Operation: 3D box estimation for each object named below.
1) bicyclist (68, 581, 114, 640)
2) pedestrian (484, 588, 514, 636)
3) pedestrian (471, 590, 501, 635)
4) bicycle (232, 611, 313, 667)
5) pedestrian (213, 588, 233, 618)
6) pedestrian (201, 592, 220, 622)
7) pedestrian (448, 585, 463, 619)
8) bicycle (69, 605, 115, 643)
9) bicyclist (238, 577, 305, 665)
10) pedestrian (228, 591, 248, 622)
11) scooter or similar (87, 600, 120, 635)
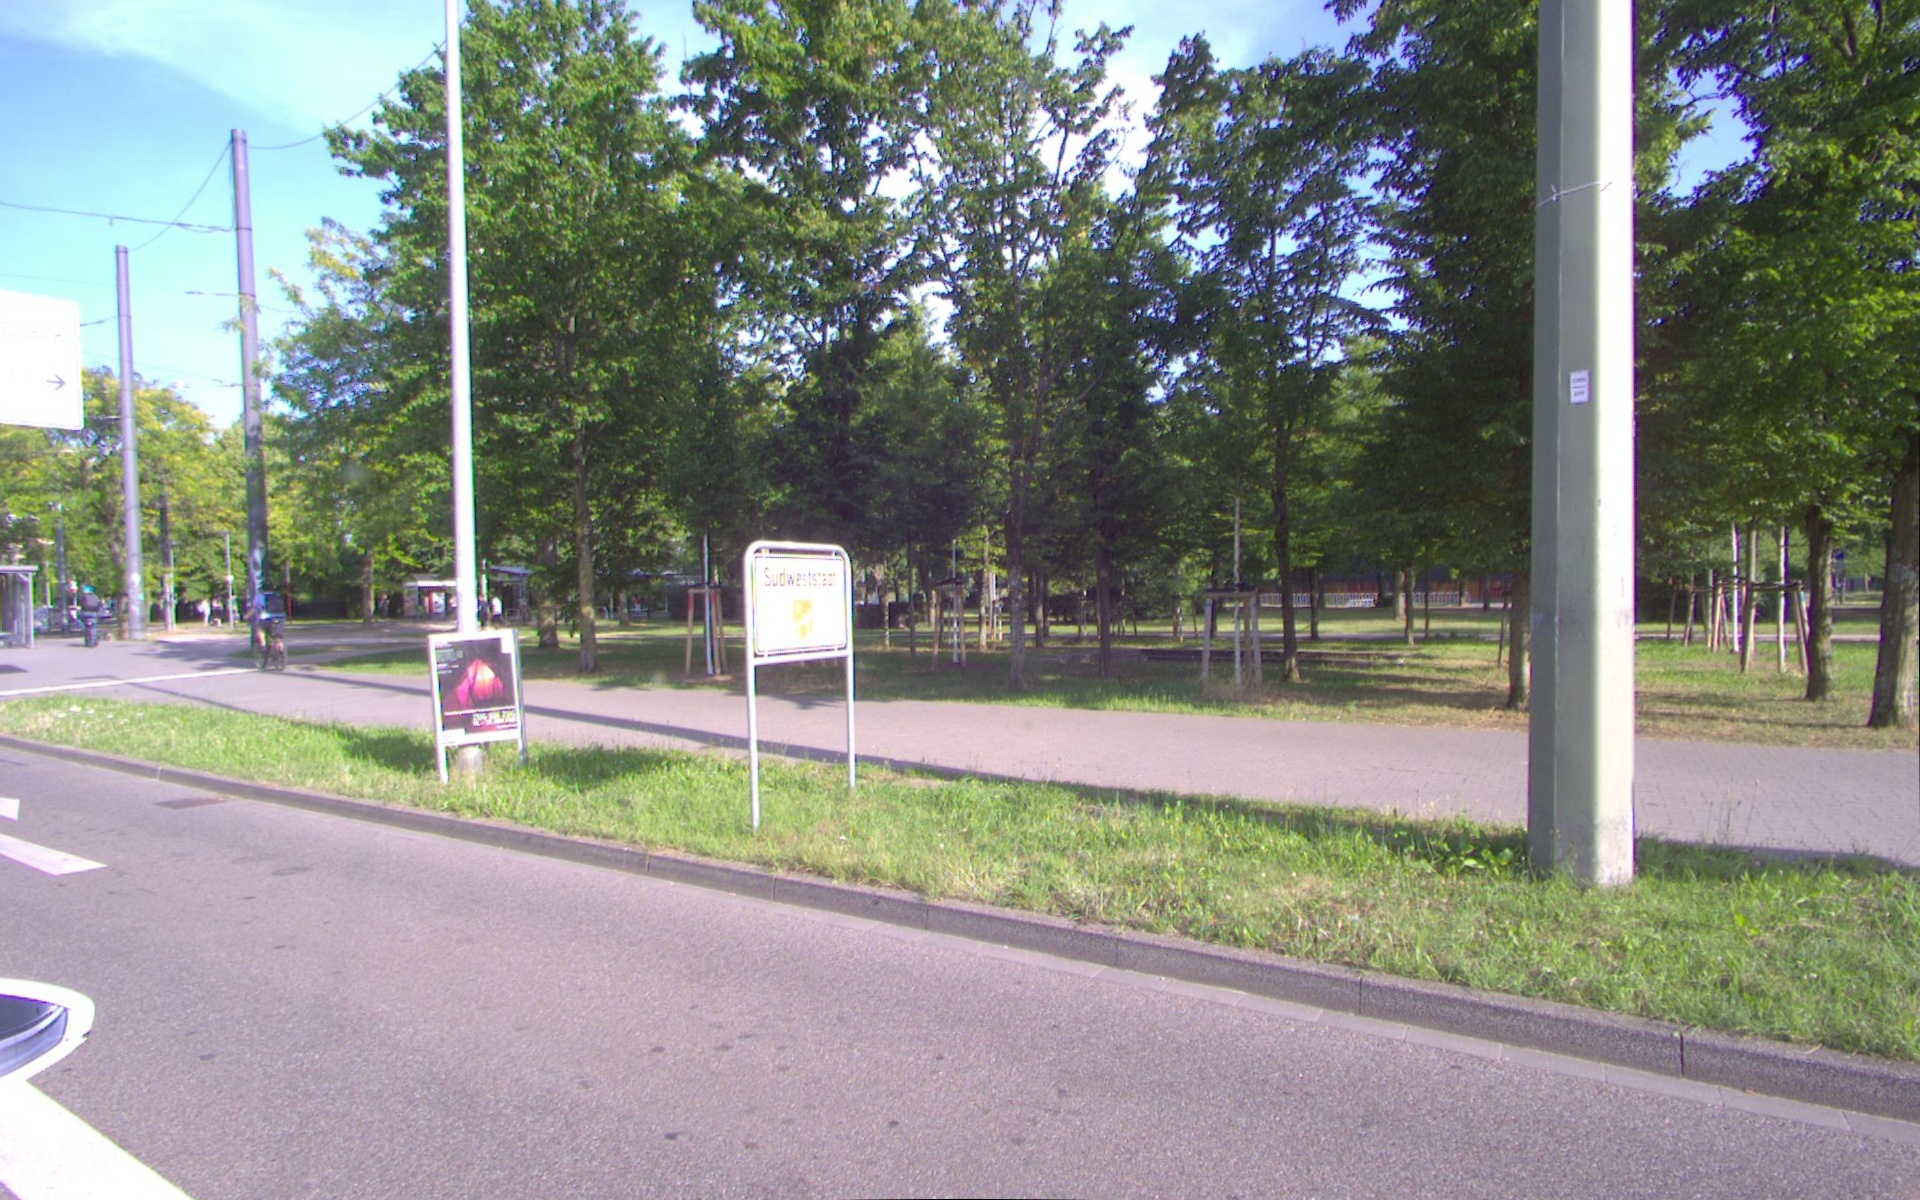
[{"bbox_3d":[-26.729,0.315,30.796,1.125,1.770,0.717,0,4,36],"label":"bicyclist"},{"bbox_3d":[-18.928,0.496,41.134,0.864,1.922,0.672,0,-1,19],"label":"pedestrian"},{"bbox_3d":[-19.138,0.521,40.421,0.864,1.800,0.672,0,-1,19],"label":"pedestrian"},{"bbox_3d":[-14.405,0.802,20.966,1.912,1.103,0.639,-1,3,32],"label":"bicycle"},{"bbox_3d":[-40.906,0.171,55.576,0.681,1.688,0.639,0,1,32],"label":"pedestrian"},{"bbox_3d":[-41.757,0.375,55.791,0.681,1.632,0.639,0,1,32],"label":"pedestrian"},{"bbox_3d":[-28.350,0.133,56.254,0.594,1.891,0.462,0,-1,1],"label":"pedestrian"},{"bbox_3d":[-26.773,0.738,30.873,1.711,1.103,0.638,0,3,36],"label":"bicycle"},{"bbox_3d":[-14.362,0.424,20.890,1.123,1.770,0.647,-1,4,31],"label":"bicyclist"},{"bbox_3d":[-39.793,0.352,55.174,0.681,1.688,0.639,0,1,32],"label":"pedestrian"},{"bbox_3d":[-31.430,0.637,36.751,1.115,1.248,0.351,0,1,18],"label":"scooter or similar"}]
